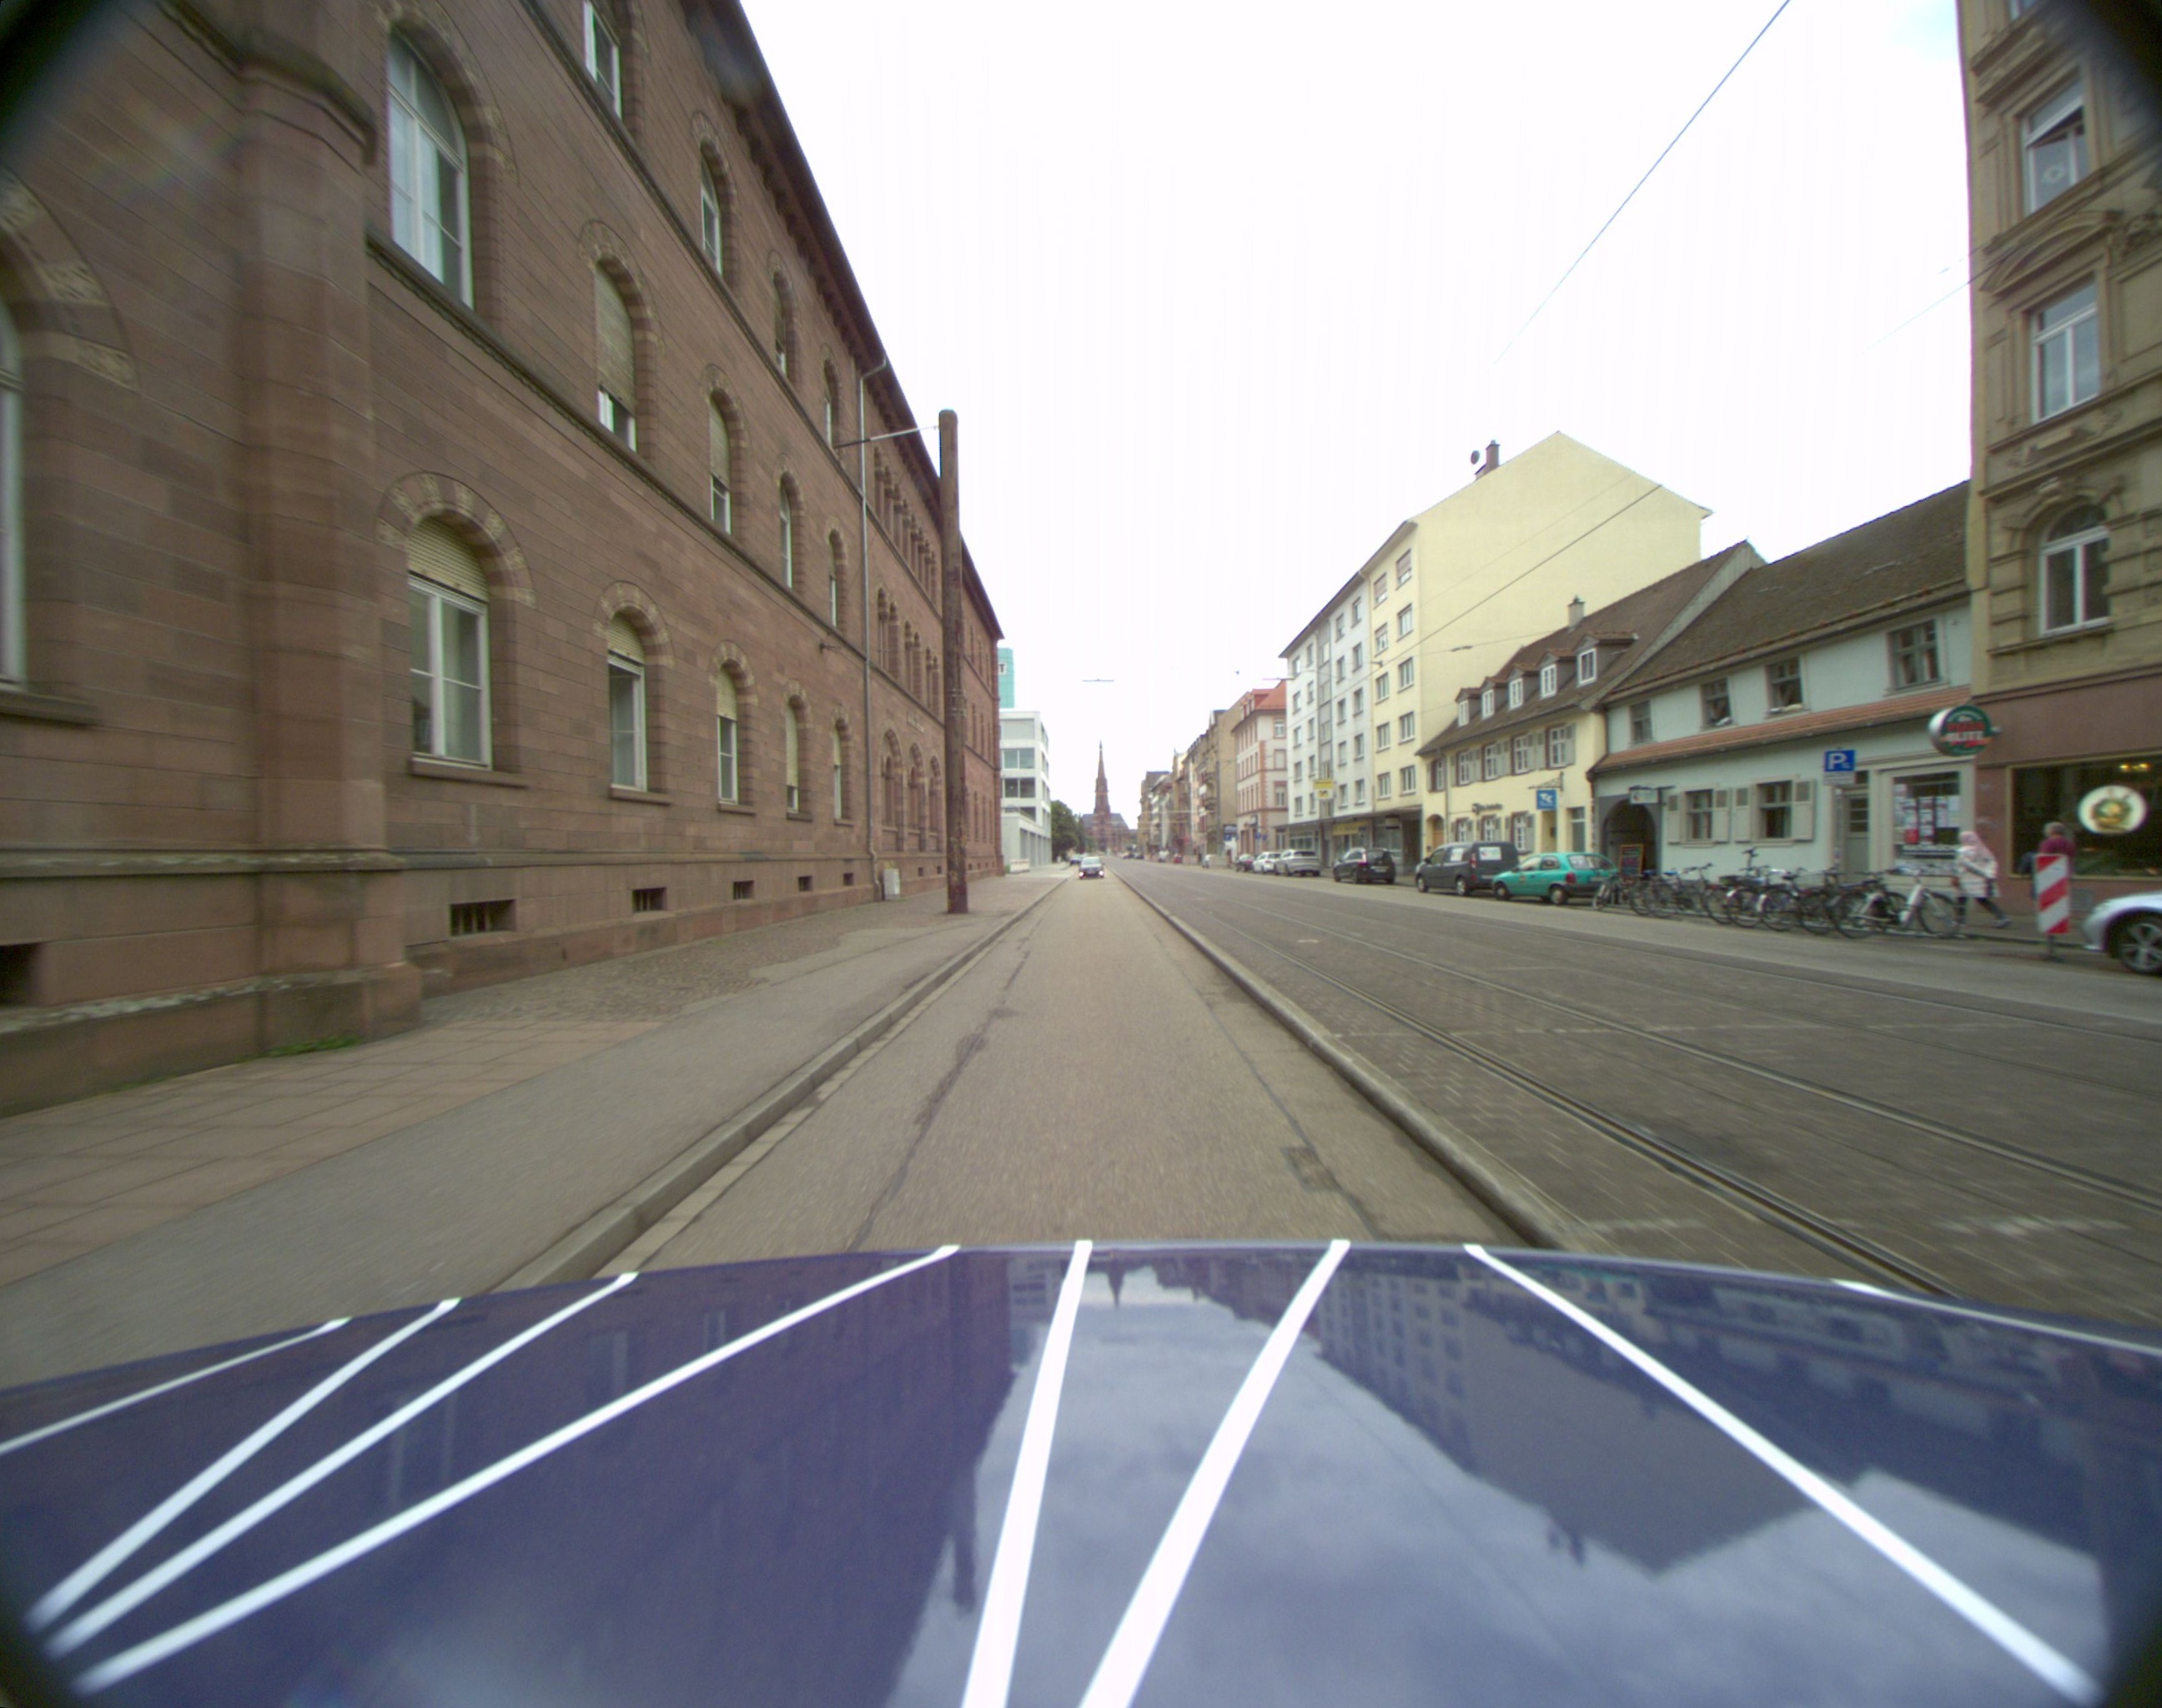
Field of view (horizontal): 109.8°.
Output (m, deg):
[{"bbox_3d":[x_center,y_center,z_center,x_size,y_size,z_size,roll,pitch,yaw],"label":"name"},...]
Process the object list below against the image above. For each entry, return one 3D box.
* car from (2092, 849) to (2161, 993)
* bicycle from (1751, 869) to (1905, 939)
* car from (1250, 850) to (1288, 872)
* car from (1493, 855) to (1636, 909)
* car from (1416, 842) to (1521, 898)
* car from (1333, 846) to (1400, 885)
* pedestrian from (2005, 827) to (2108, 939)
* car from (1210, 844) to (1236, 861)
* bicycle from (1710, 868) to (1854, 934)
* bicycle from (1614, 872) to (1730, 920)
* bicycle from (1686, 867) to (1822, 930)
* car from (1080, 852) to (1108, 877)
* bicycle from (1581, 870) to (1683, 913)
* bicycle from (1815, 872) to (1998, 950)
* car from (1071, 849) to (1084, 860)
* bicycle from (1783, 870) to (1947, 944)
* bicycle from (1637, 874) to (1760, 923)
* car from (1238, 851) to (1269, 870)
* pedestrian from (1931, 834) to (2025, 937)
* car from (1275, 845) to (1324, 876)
[{"bbox_3d":[12.215,0.692,6.246,1.828,1.512,4.545,0,0,2],"label":"car"},{"bbox_3d":[12.837,0.848,13.096,2.044,1.091,0.557,-2,1,2],"label":"bicycle"},{"bbox_3d":[13.234,0.466,53.657,1.733,1.443,3.826,-2,1,1],"label":"car"},{"bbox_3d":[13.096,0.709,20.820,1.651,1.373,3.435,0,0,-2],"label":"car"},{"bbox_3d":[12.968,0.475,25.725,1.706,1.747,3.920,0,1,3],"label":"car"},{"bbox_3d":[13.322,0.493,35.701,1.704,1.662,4.181,-2,1,2],"label":"car"},{"bbox_3d":[15.451,0.445,12.058,0.657,1.702,0.753,-2,1,1],"label":"pedestrian"},{"bbox_3d":[13.836,-0.168,74.257,1.867,1.553,4.000,1,1,1],"label":"car"},{"bbox_3d":[12.748,0.843,13.846,2.044,1.091,0.557,-2,1,2],"label":"bicycle"},{"bbox_3d":[12.894,0.912,16.602,2.126,0.928,0.557,-2,1,-1],"label":"bicycle"},{"bbox_3d":[12.829,0.833,14.514,2.044,1.091,0.557,-2,1,2],"label":"bicycle"},{"bbox_3d":[0.859,0.696,51.146,1.747,1.538,3.650,-2,1,0],"label":"car"},{"bbox_3d":[13.134,0.886,18.139,2.044,0.928,0.557,-2,1,-1],"label":"bicycle"},{"bbox_3d":[12.689,0.869,11.716,2.139,1.091,0.557,-2,1,2],"label":"bicycle"},{"bbox_3d":[-0.475,0.079,117.107,1.835,1.652,4.000,-2,1,1],"label":"car"},{"bbox_3d":[12.799,0.857,12.430,2.044,1.091,0.557,-2,1,2],"label":"bicycle"},{"bbox_3d":[12.886,0.920,15.892,2.044,0.928,0.557,-2,1,3],"label":"bicycle"},{"bbox_3d":[13.541,0.506,59.851,1.733,1.336,3.246,-2,1,1],"label":"car"},{"bbox_3d":[14.620,0.491,12.405,0.657,1.607,0.728,-2,1,1],"label":"pedestrian"},{"bbox_3d":[13.371,0.358,46.750,1.928,1.722,3.826,-2,1,1],"label":"car"}]
